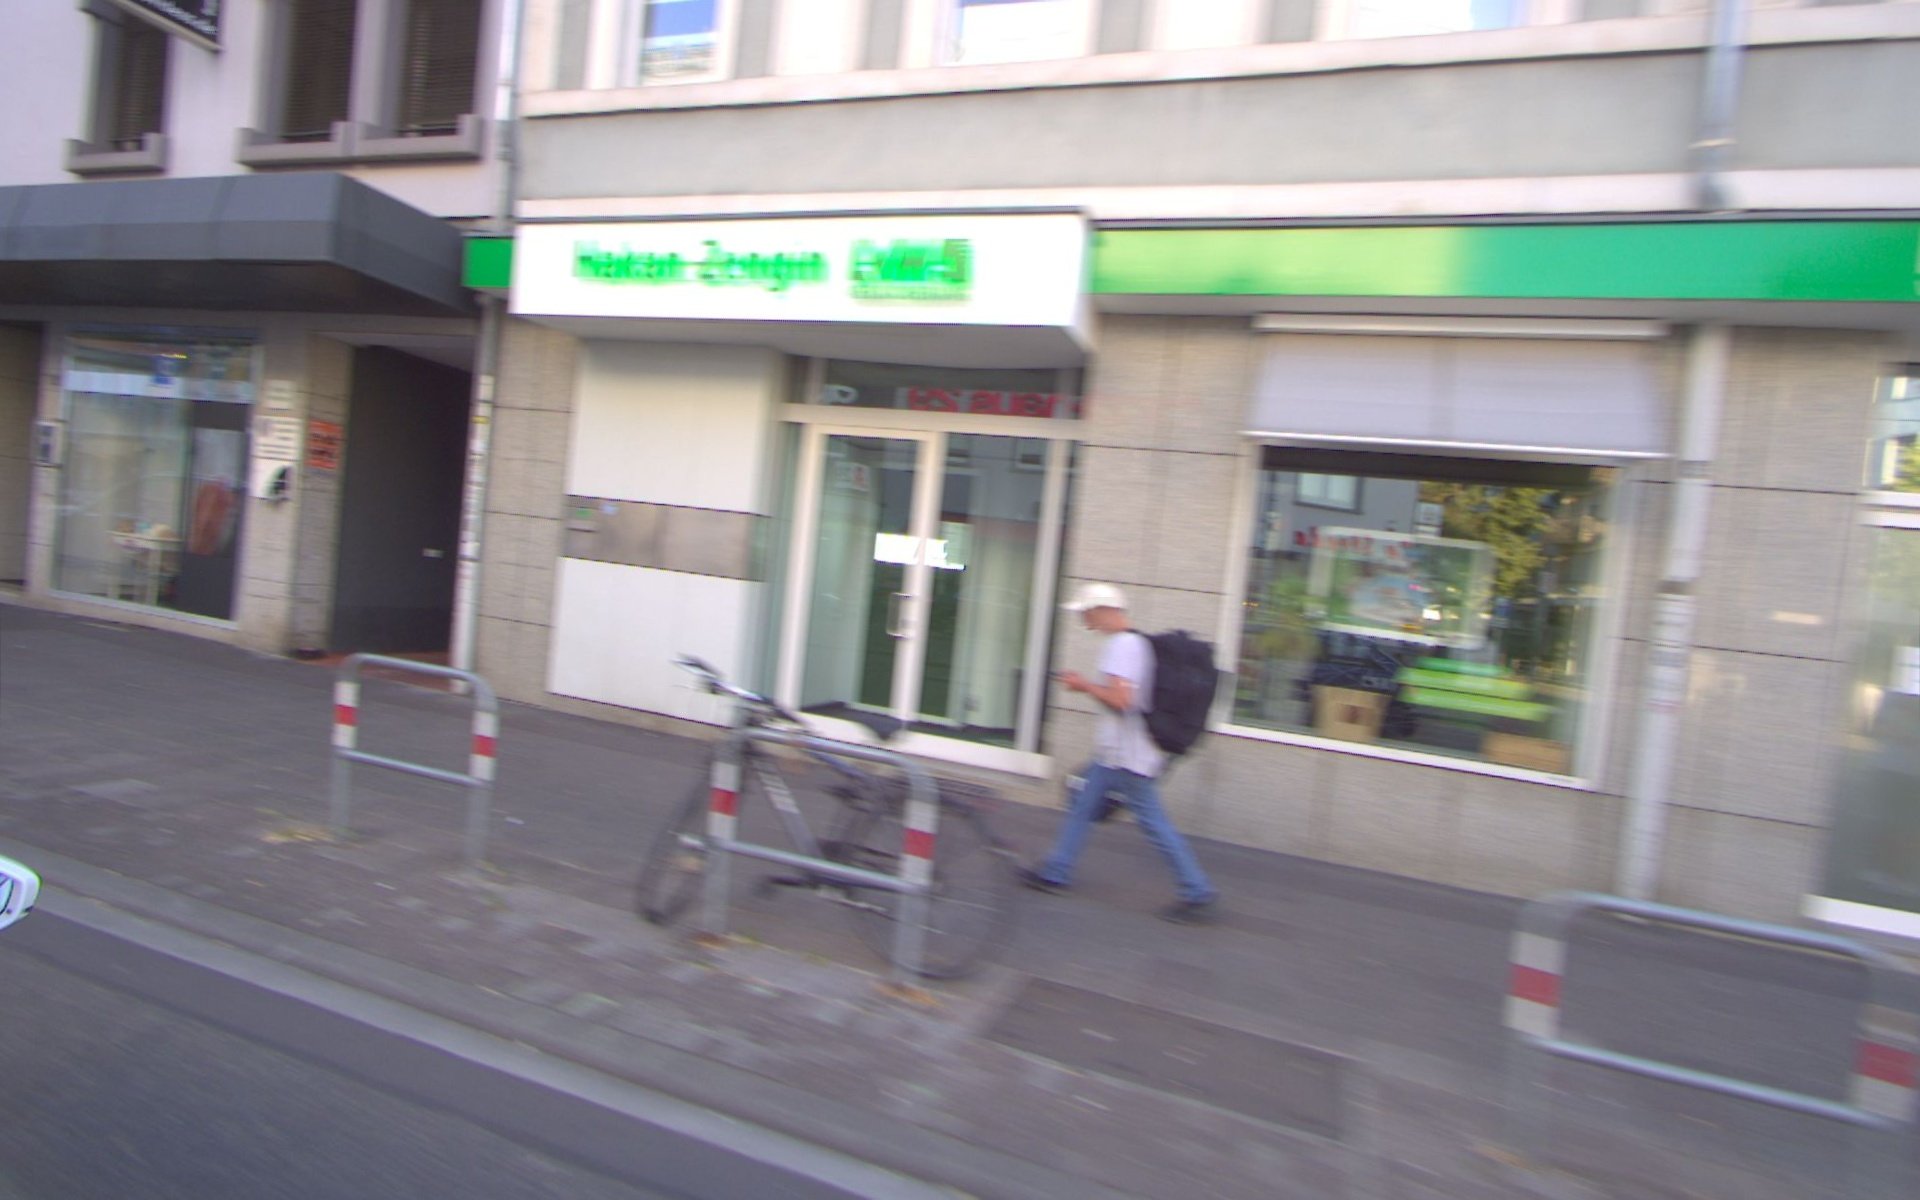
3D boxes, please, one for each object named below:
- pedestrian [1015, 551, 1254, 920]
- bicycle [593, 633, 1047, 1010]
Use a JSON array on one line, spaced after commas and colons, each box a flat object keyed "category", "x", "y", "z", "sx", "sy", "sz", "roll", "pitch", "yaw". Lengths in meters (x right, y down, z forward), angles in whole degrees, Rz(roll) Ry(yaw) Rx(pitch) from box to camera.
[{"category": "pedestrian", "x": 0.869, "y": 0.604, "z": 4.923, "sx": 0.854, "sy": 1.569, "sz": 0.698, "roll": 7, "pitch": 3, "yaw": 22}, {"category": "bicycle", "x": -0.553, "y": 0.782, "z": 3.910, "sx": 1.617, "sy": 1.105, "sz": 0.478, "roll": 7, "pitch": 4, "yaw": 17}]
